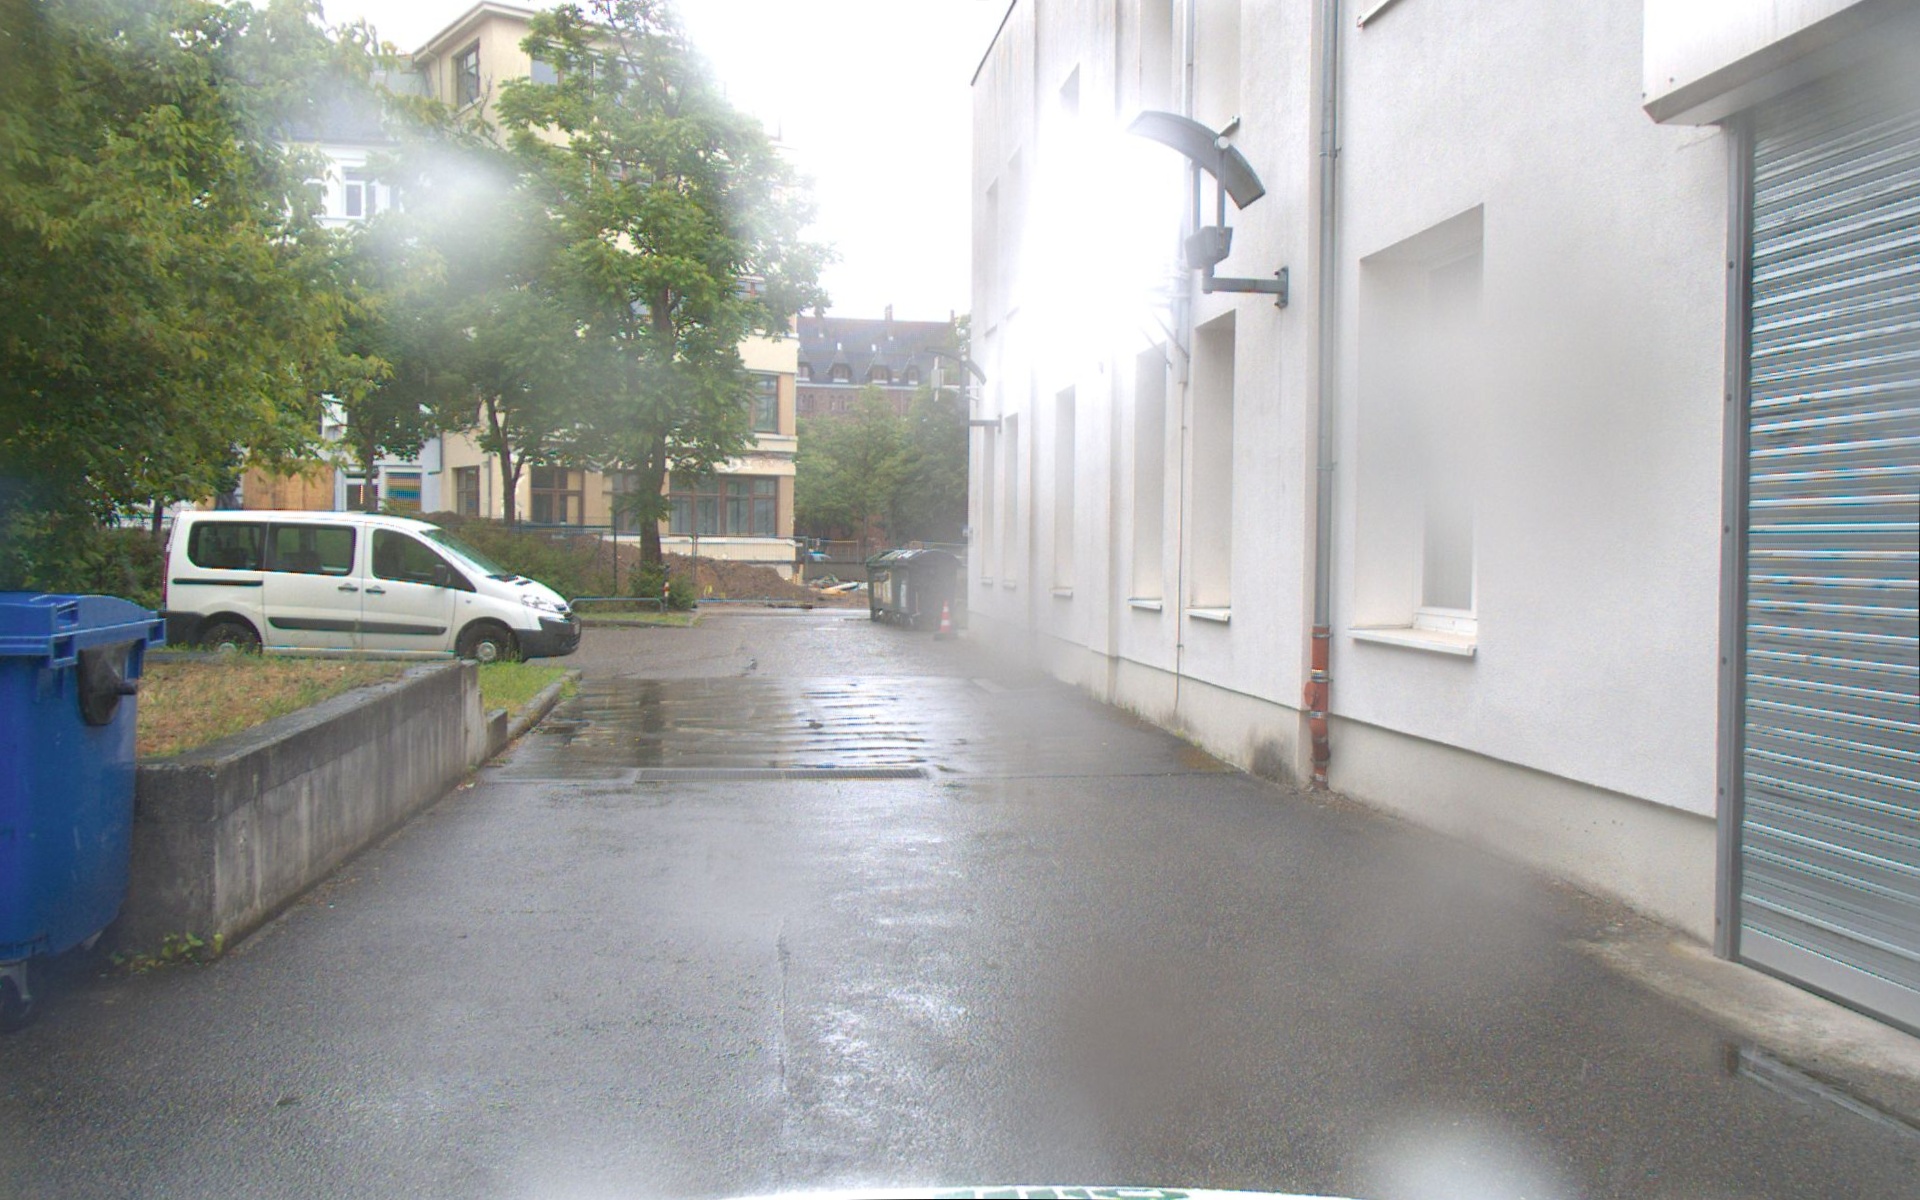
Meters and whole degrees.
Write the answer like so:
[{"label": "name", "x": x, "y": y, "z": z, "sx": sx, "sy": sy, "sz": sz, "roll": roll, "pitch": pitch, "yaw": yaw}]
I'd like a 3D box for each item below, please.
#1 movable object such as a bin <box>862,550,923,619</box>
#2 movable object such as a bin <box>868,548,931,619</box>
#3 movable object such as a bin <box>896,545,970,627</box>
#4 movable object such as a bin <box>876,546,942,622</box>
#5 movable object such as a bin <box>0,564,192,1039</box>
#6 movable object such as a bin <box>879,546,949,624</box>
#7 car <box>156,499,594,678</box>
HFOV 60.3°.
[{"label": "movable object such as a bin", "x": -1.495, "y": -0.331, "z": 36.532, "sx": 1.192, "sy": 1.462, "sz": 1.256, "roll": 1, "pitch": -1, "yaw": -9}, {"label": "movable object such as a bin", "x": -1.292, "y": -0.341, "z": 35.171, "sx": 1.192, "sy": 1.462, "sz": 1.256, "roll": 1, "pitch": -1, "yaw": -9}, {"label": "movable object such as a bin", "x": -0.506, "y": -0.244, "z": 30.543, "sx": 1.192, "sy": 1.462, "sz": 1.233, "roll": 1, "pitch": -1, "yaw": -10}, {"label": "movable object such as a bin", "x": -1.053, "y": -0.314, "z": 33.817, "sx": 1.192, "sy": 1.494, "sz": 1.233, "roll": 1, "pitch": -1, "yaw": -10}, {"label": "movable object such as a bin", "x": -3.247, "y": 0.576, "z": 5.257, "sx": 1.198, "sy": 1.360, "sz": 1.005, "roll": 1, "pitch": 2, "yaw": -7}, {"label": "movable object such as a bin", "x": -0.903, "y": -0.286, "z": 32.192, "sx": 1.192, "sy": 1.462, "sz": 1.291, "roll": 1, "pitch": -1, "yaw": -9}, {"label": "car", "x": -6.987, "y": -0.175, "z": 20.244, "sx": 4.689, "sy": 2.048, "sz": 1.998, "roll": 0, "pitch": 2, "yaw": -7}]
